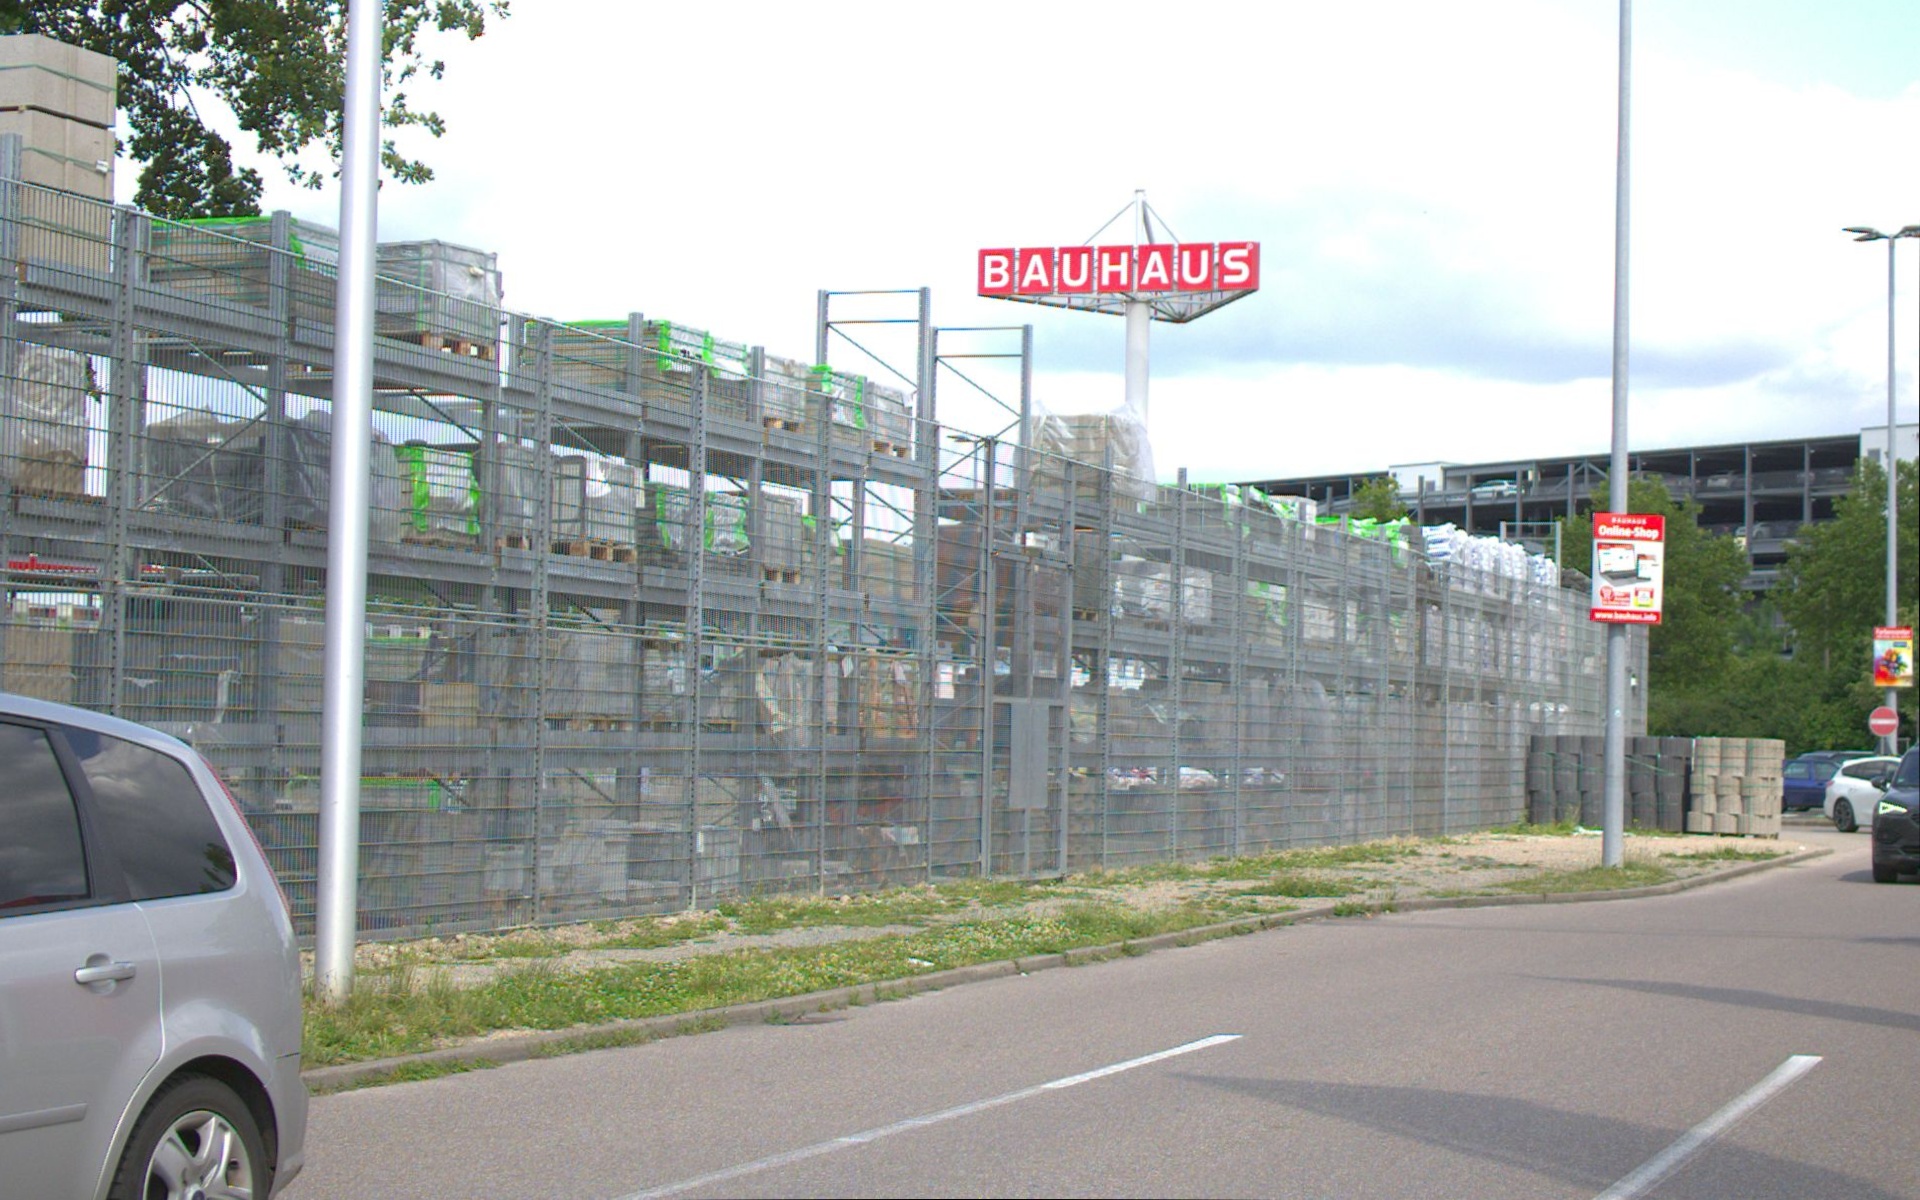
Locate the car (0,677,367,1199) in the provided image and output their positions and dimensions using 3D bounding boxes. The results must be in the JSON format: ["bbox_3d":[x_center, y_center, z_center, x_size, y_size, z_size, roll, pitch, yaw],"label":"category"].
[{"bbox_3d":[-3.210,0.922,7.386,1.720,1.559,4.203,0,-2,24],"label":"car"}]

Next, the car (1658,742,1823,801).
[{"bbox_3d":[19.177,4.192,84.476,3.754,1.363,1.619,0,-2,21],"label":"car"}]

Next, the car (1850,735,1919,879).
[{"bbox_3d":[11.857,2.426,40.943,1.917,1.613,4.368,-1,-2,21],"label":"car"}]

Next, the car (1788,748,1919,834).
[{"bbox_3d":[16.941,3.512,63.349,2.891,1.510,1.530,-1,-3,40],"label":"car"}]
